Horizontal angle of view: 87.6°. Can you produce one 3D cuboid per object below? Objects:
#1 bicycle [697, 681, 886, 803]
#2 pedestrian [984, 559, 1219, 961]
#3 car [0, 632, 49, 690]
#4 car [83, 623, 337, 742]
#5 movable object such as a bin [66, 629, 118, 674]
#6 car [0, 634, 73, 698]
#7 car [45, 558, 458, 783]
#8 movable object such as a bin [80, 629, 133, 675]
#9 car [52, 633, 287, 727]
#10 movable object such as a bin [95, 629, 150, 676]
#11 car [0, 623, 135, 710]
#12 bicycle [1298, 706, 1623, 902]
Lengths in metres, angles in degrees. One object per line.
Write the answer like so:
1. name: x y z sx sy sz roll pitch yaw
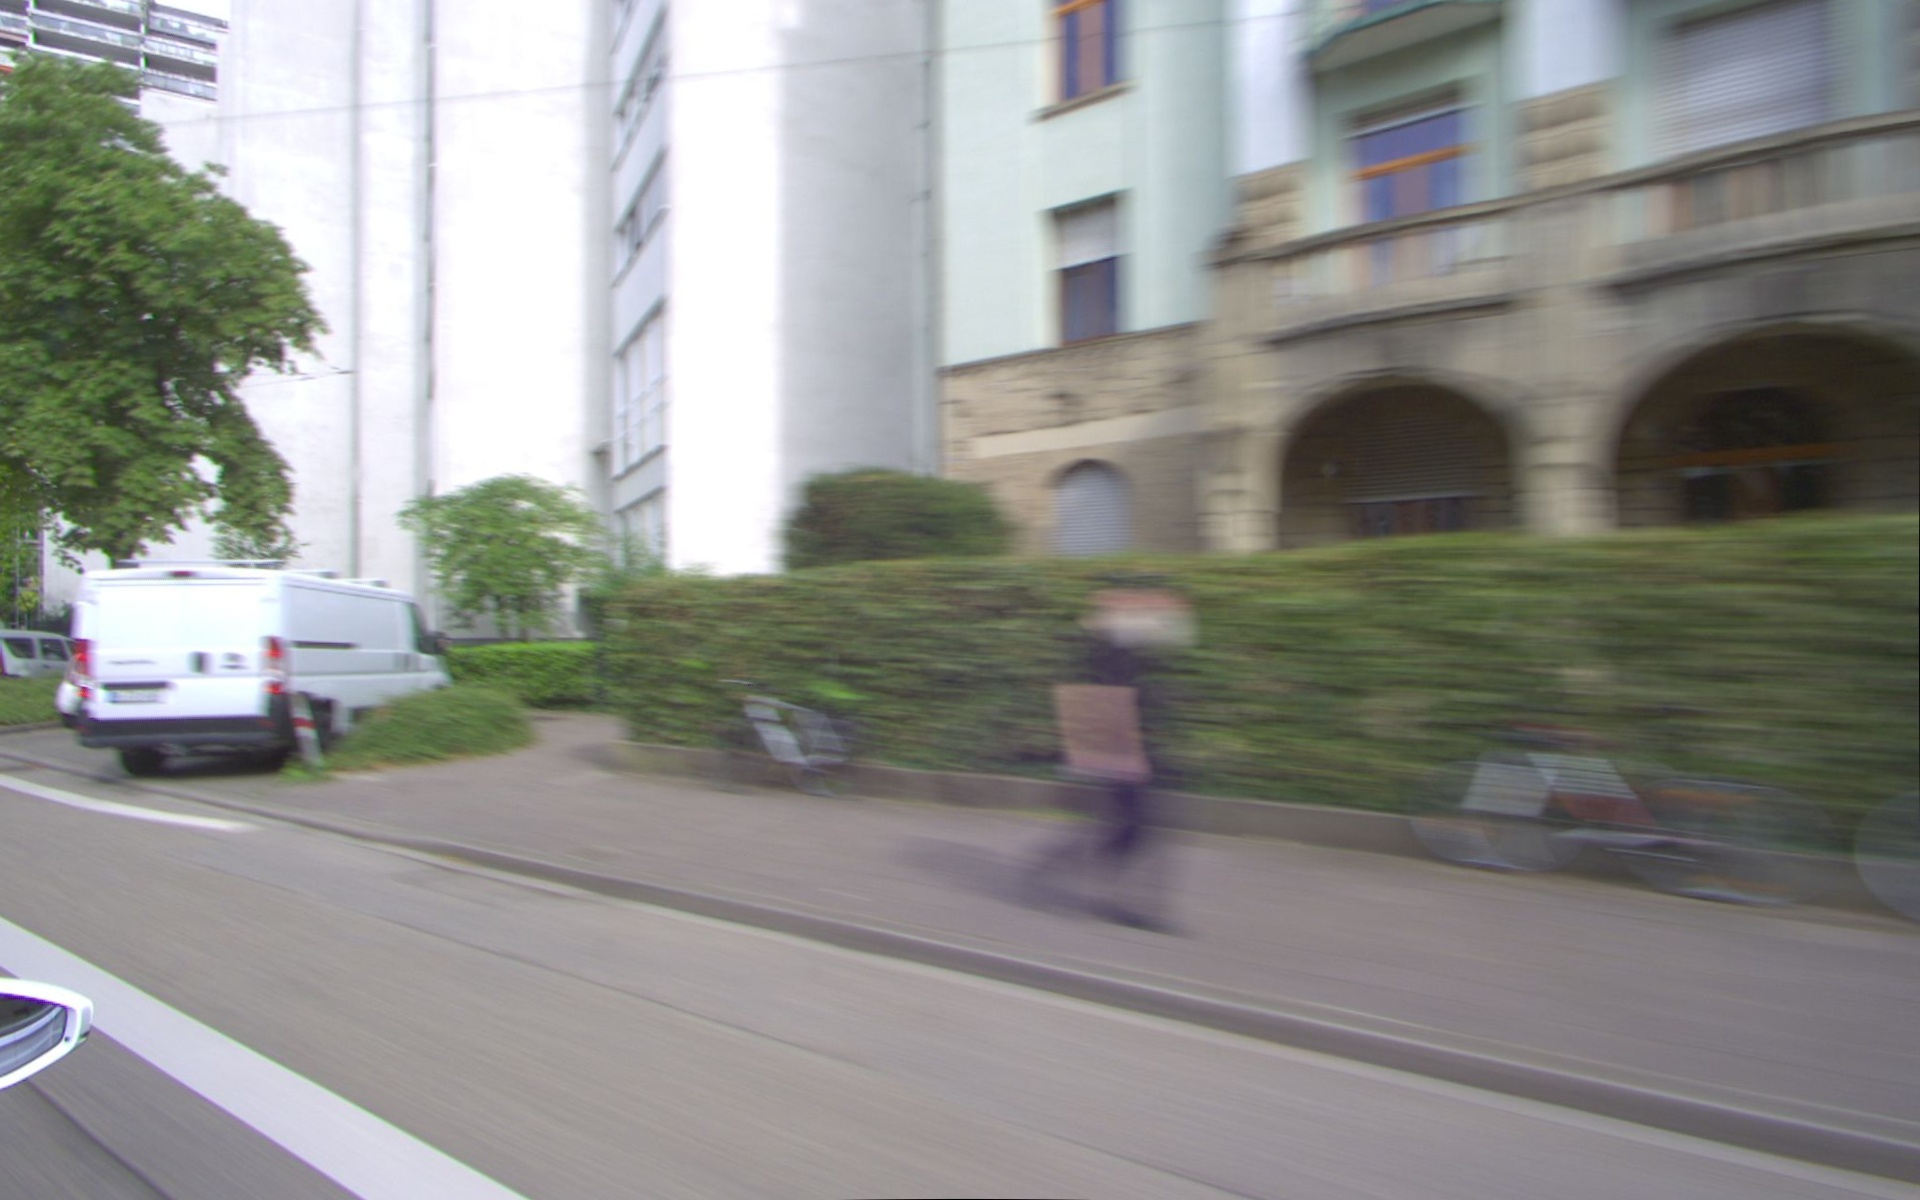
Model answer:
1. bicycle: -1.494 1.191 8.679 1.816 0.919 0.385 -2 -1 33
2. pedestrian: 0.708 0.700 4.929 0.883 1.756 0.783 0 1 33
3. car: -24.841 1.516 24.791 1.658 1.450 3.715 1 -2 -11
4. car: -11.804 1.246 16.120 1.658 1.669 3.959 1 -2 -11
5. movable object such as a bin: -30.081 1.764 34.708 1.197 1.527 1.067 -1 -2 35
6. car: -22.659 1.512 22.854 1.657 1.450 3.976 0 -2 -8
7. car: -8.614 0.839 12.947 2.339 2.319 4.959 0 -2 -9
8. movable object such as a bin: -28.983 1.748 34.005 1.305 1.527 1.067 -1 -2 35
9. car: -14.315 1.402 18.462 1.658 1.530 4.091 1 -2 -11
10. movable object such as a bin: -27.647 1.725 33.070 1.305 1.527 1.067 -1 -2 35
11. car: -19.864 1.376 21.399 1.658 1.689 4.107 1 -2 -11
12. bicycle: 2.866 1.127 5.852 1.645 0.919 0.384 -2 -1 39
